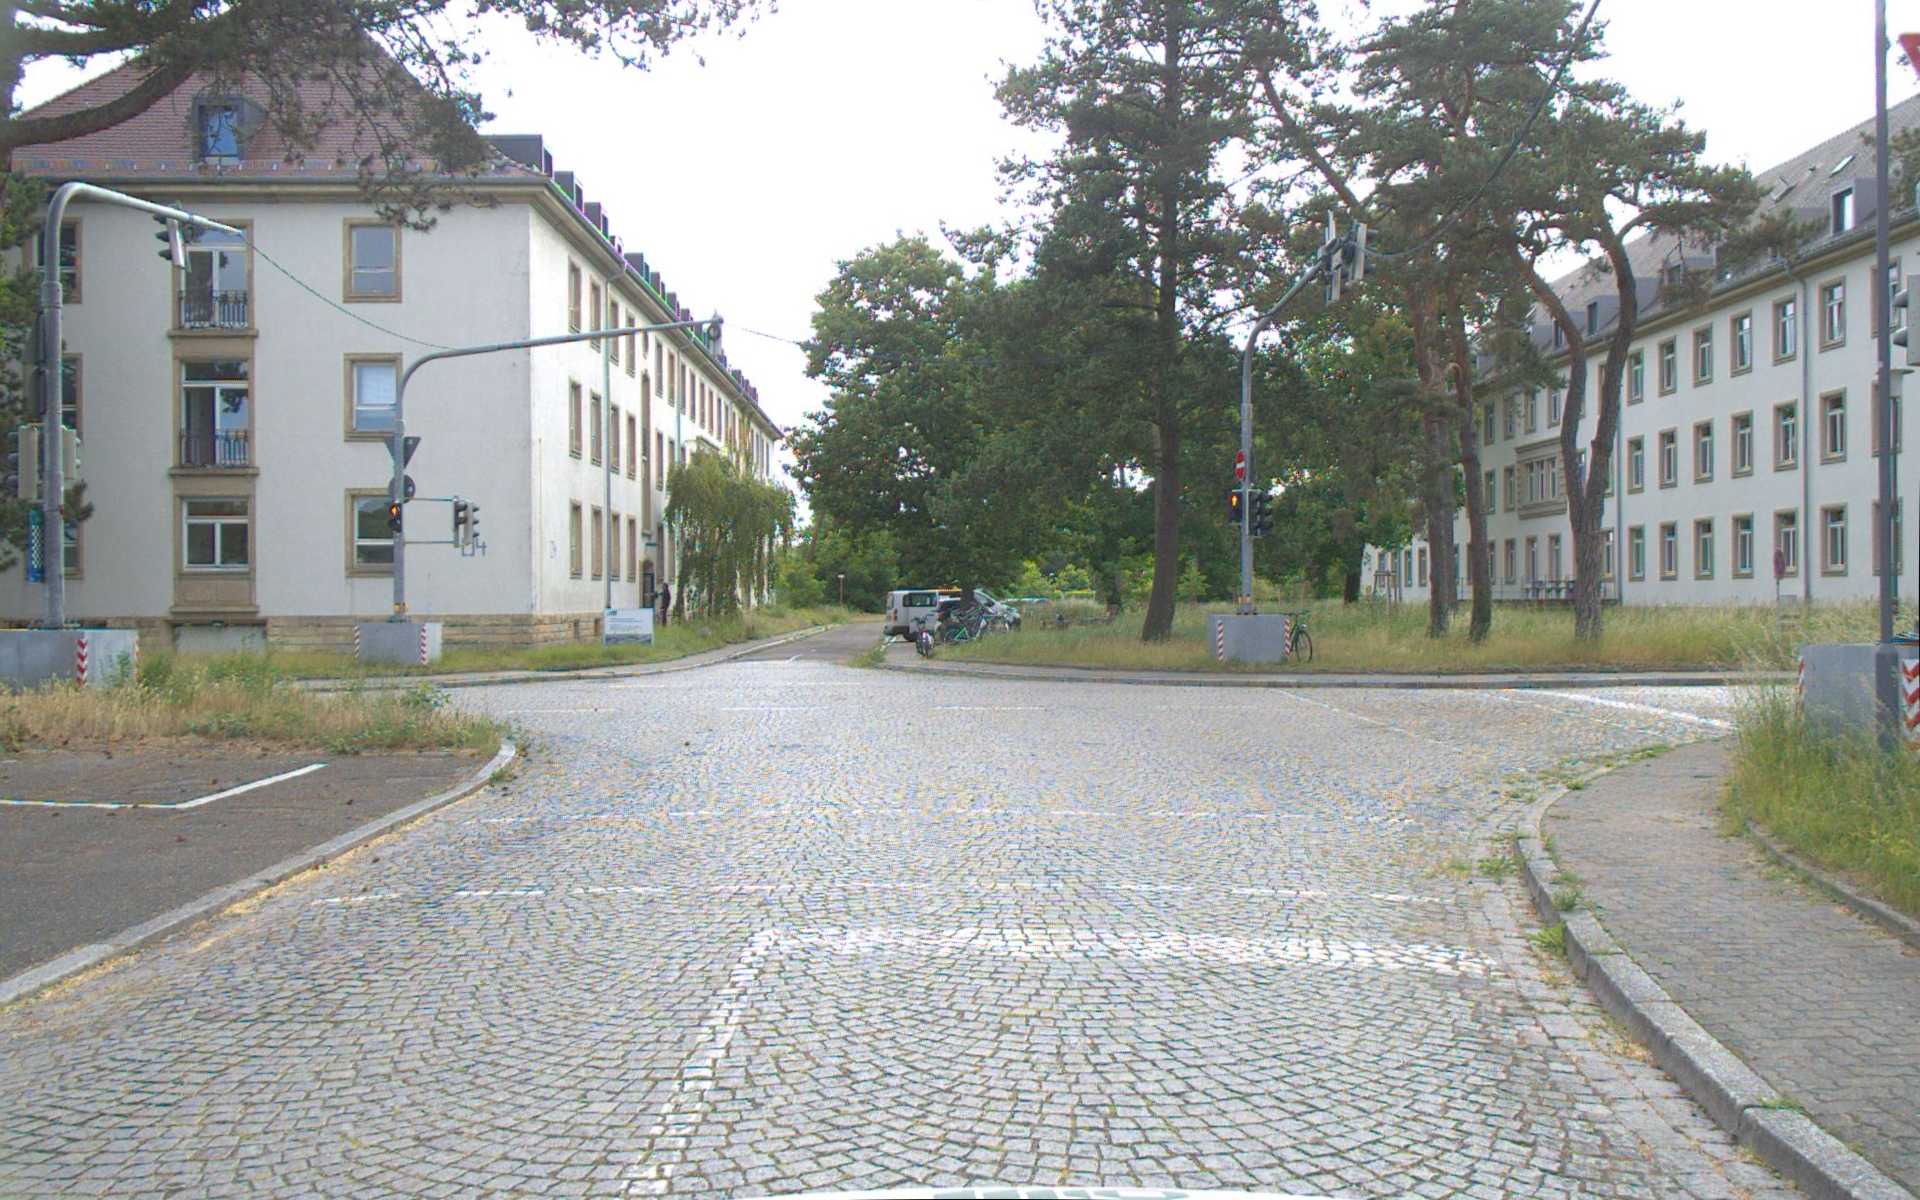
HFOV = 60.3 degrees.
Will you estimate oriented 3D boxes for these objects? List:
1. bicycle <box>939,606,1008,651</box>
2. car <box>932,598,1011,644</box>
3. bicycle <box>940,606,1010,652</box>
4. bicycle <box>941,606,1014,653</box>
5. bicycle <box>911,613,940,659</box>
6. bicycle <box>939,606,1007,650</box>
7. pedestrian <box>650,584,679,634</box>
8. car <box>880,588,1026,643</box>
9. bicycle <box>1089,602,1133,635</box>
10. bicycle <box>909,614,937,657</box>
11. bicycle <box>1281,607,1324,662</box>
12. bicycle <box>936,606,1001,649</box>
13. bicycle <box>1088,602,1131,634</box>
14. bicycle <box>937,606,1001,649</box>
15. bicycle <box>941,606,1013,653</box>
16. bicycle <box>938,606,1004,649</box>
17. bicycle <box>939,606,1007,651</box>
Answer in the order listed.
[{"bbox_3d":[0.390,0.818,47.424,1.943,1.269,0.624,1,-1,-3],"label":"bicycle"},{"bbox_3d":[0.398,0.744,59.635,2.790,1.585,1.472,-1,1,-2],"label":"car"},{"bbox_3d":[0.414,0.812,46.565,1.943,1.269,0.624,1,-1,-3],"label":"bicycle"},{"bbox_3d":[0.471,0.801,45.010,1.943,1.269,0.624,1,-1,-3],"label":"bicycle"},{"bbox_3d":[-0.856,0.892,41.608,0.609,1.133,1.989,1,-1,2],"label":"bicycle"},{"bbox_3d":[0.380,0.827,48.582,1.943,1.269,0.624,1,-1,-3],"label":"bicycle"},{"bbox_3d":[-10.836,0.314,60.710,0.819,1.812,0.941,0,0,4],"label":"pedestrian"},{"bbox_3d":[-0.287,0.580,63.099,5.218,1.949,2.141,-1,0,-16],"label":"car"},{"bbox_3d":[5.353,0.657,58.668,1.517,1.144,0.401,0,0,1],"label":"bicycle"},{"bbox_3d":[-0.975,0.921,43.560,0.609,1.101,1.678,1,-1,3],"label":"bicycle"},{"bbox_3d":[6.765,0.671,32.711,0.568,0.987,1.678,-2,2,3],"label":"bicycle"},{"bbox_3d":[0.249,0.846,51.324,1.943,1.269,0.624,-2,-1,-3],"label":"bicycle"},{"bbox_3d":[5.396,0.664,59.900,1.517,1.144,0.401,0,0,1],"label":"bicycle"},{"bbox_3d":[0.268,0.841,50.665,1.943,1.269,0.624,1,-1,-3],"label":"bicycle"},{"bbox_3d":[0.453,0.805,45.639,1.943,1.269,0.624,1,-1,-3],"label":"bicycle"},{"bbox_3d":[0.334,0.834,49.659,1.943,1.269,0.624,1,-1,-3],"label":"bicycle"},{"bbox_3d":[0.379,0.823,48.056,1.943,1.269,0.624,1,-1,-3],"label":"bicycle"}]
